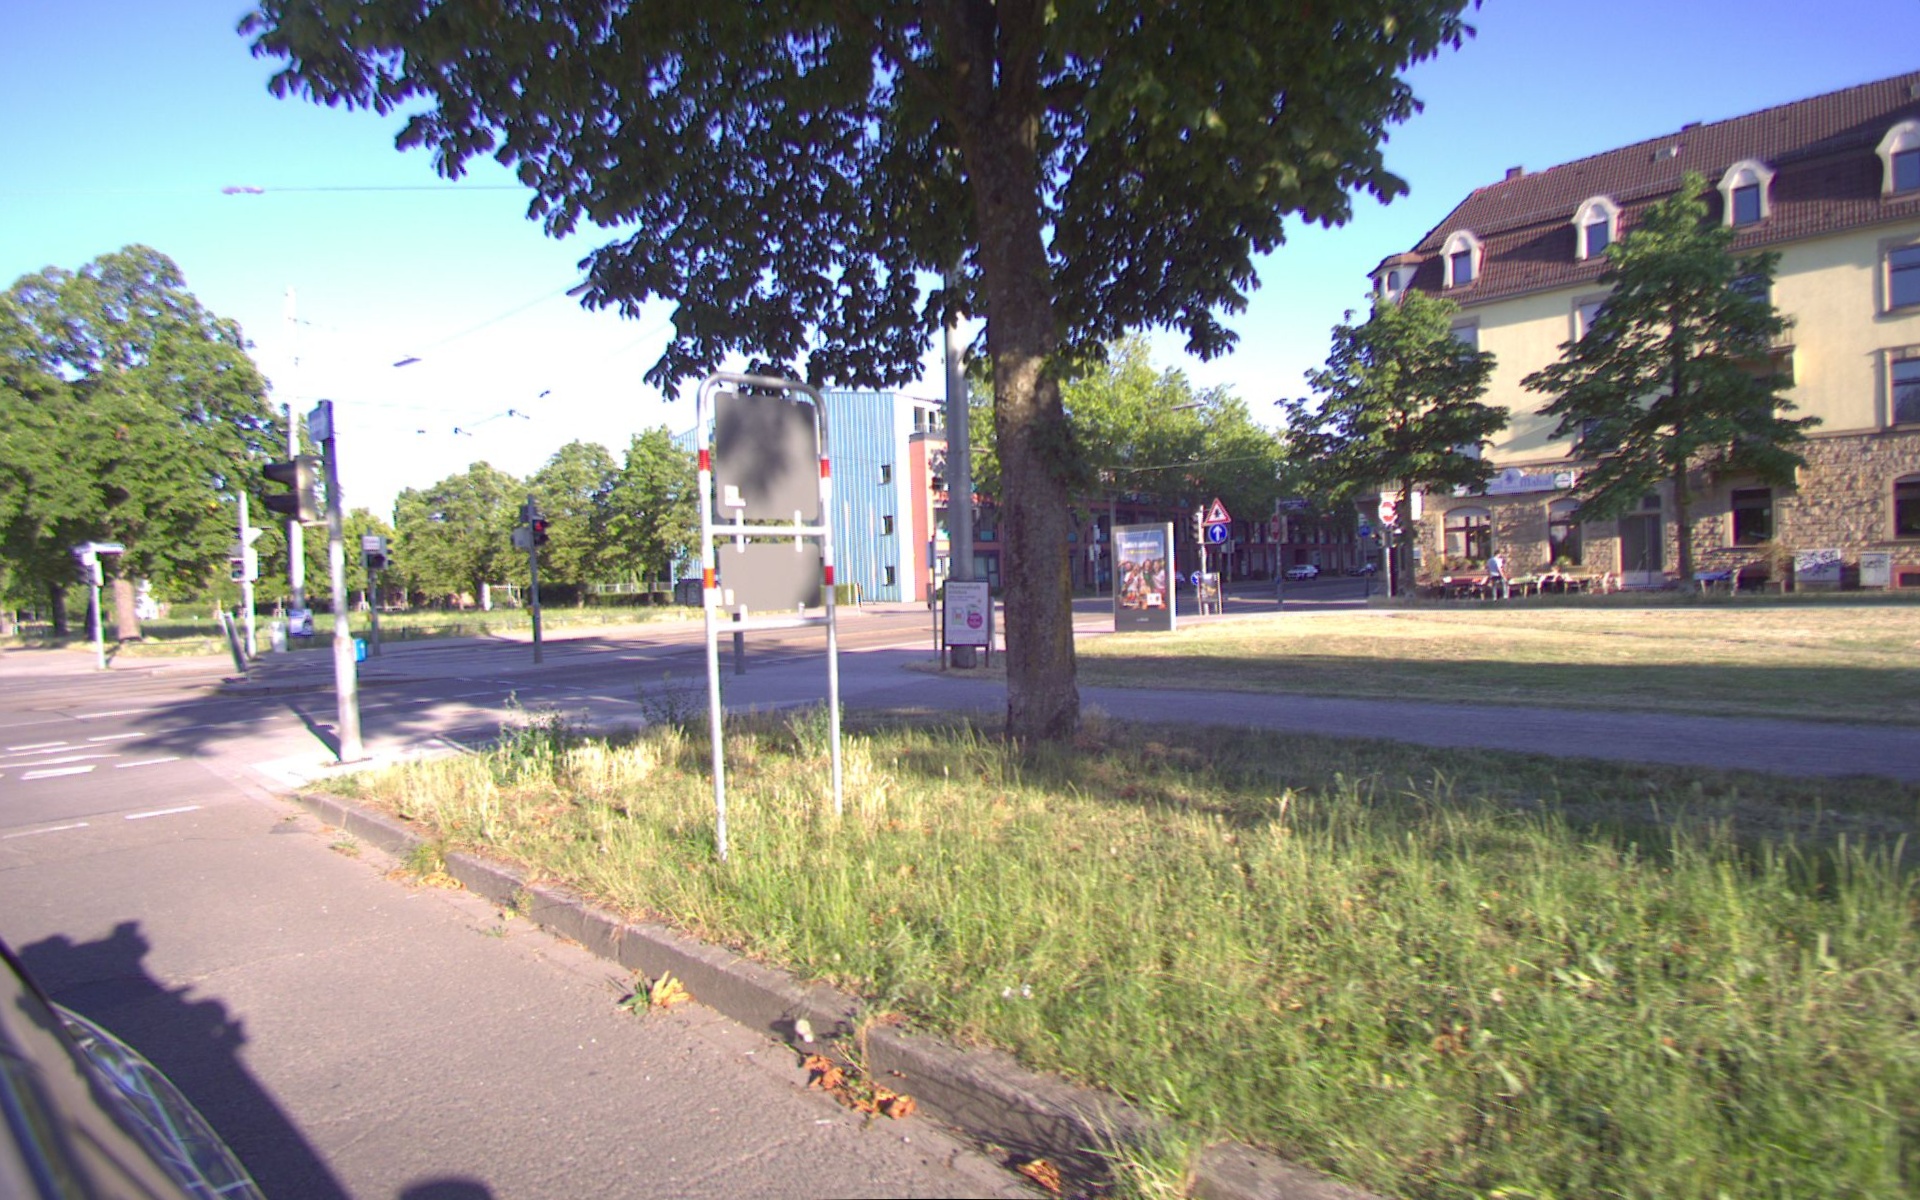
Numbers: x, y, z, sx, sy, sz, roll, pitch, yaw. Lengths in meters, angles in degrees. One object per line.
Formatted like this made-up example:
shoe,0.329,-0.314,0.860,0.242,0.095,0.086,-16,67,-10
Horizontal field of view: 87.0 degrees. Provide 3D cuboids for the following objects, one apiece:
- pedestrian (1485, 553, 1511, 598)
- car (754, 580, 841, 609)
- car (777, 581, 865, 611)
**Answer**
pedestrian,20.012,-0.903,37.643,0.682,1.636,0.610,0,5,41
car,-9.874,-0.331,61.716,1.967,1.684,5.151,0,1,42
car,-8.232,-0.246,60.218,1.999,1.684,5.153,0,1,40
